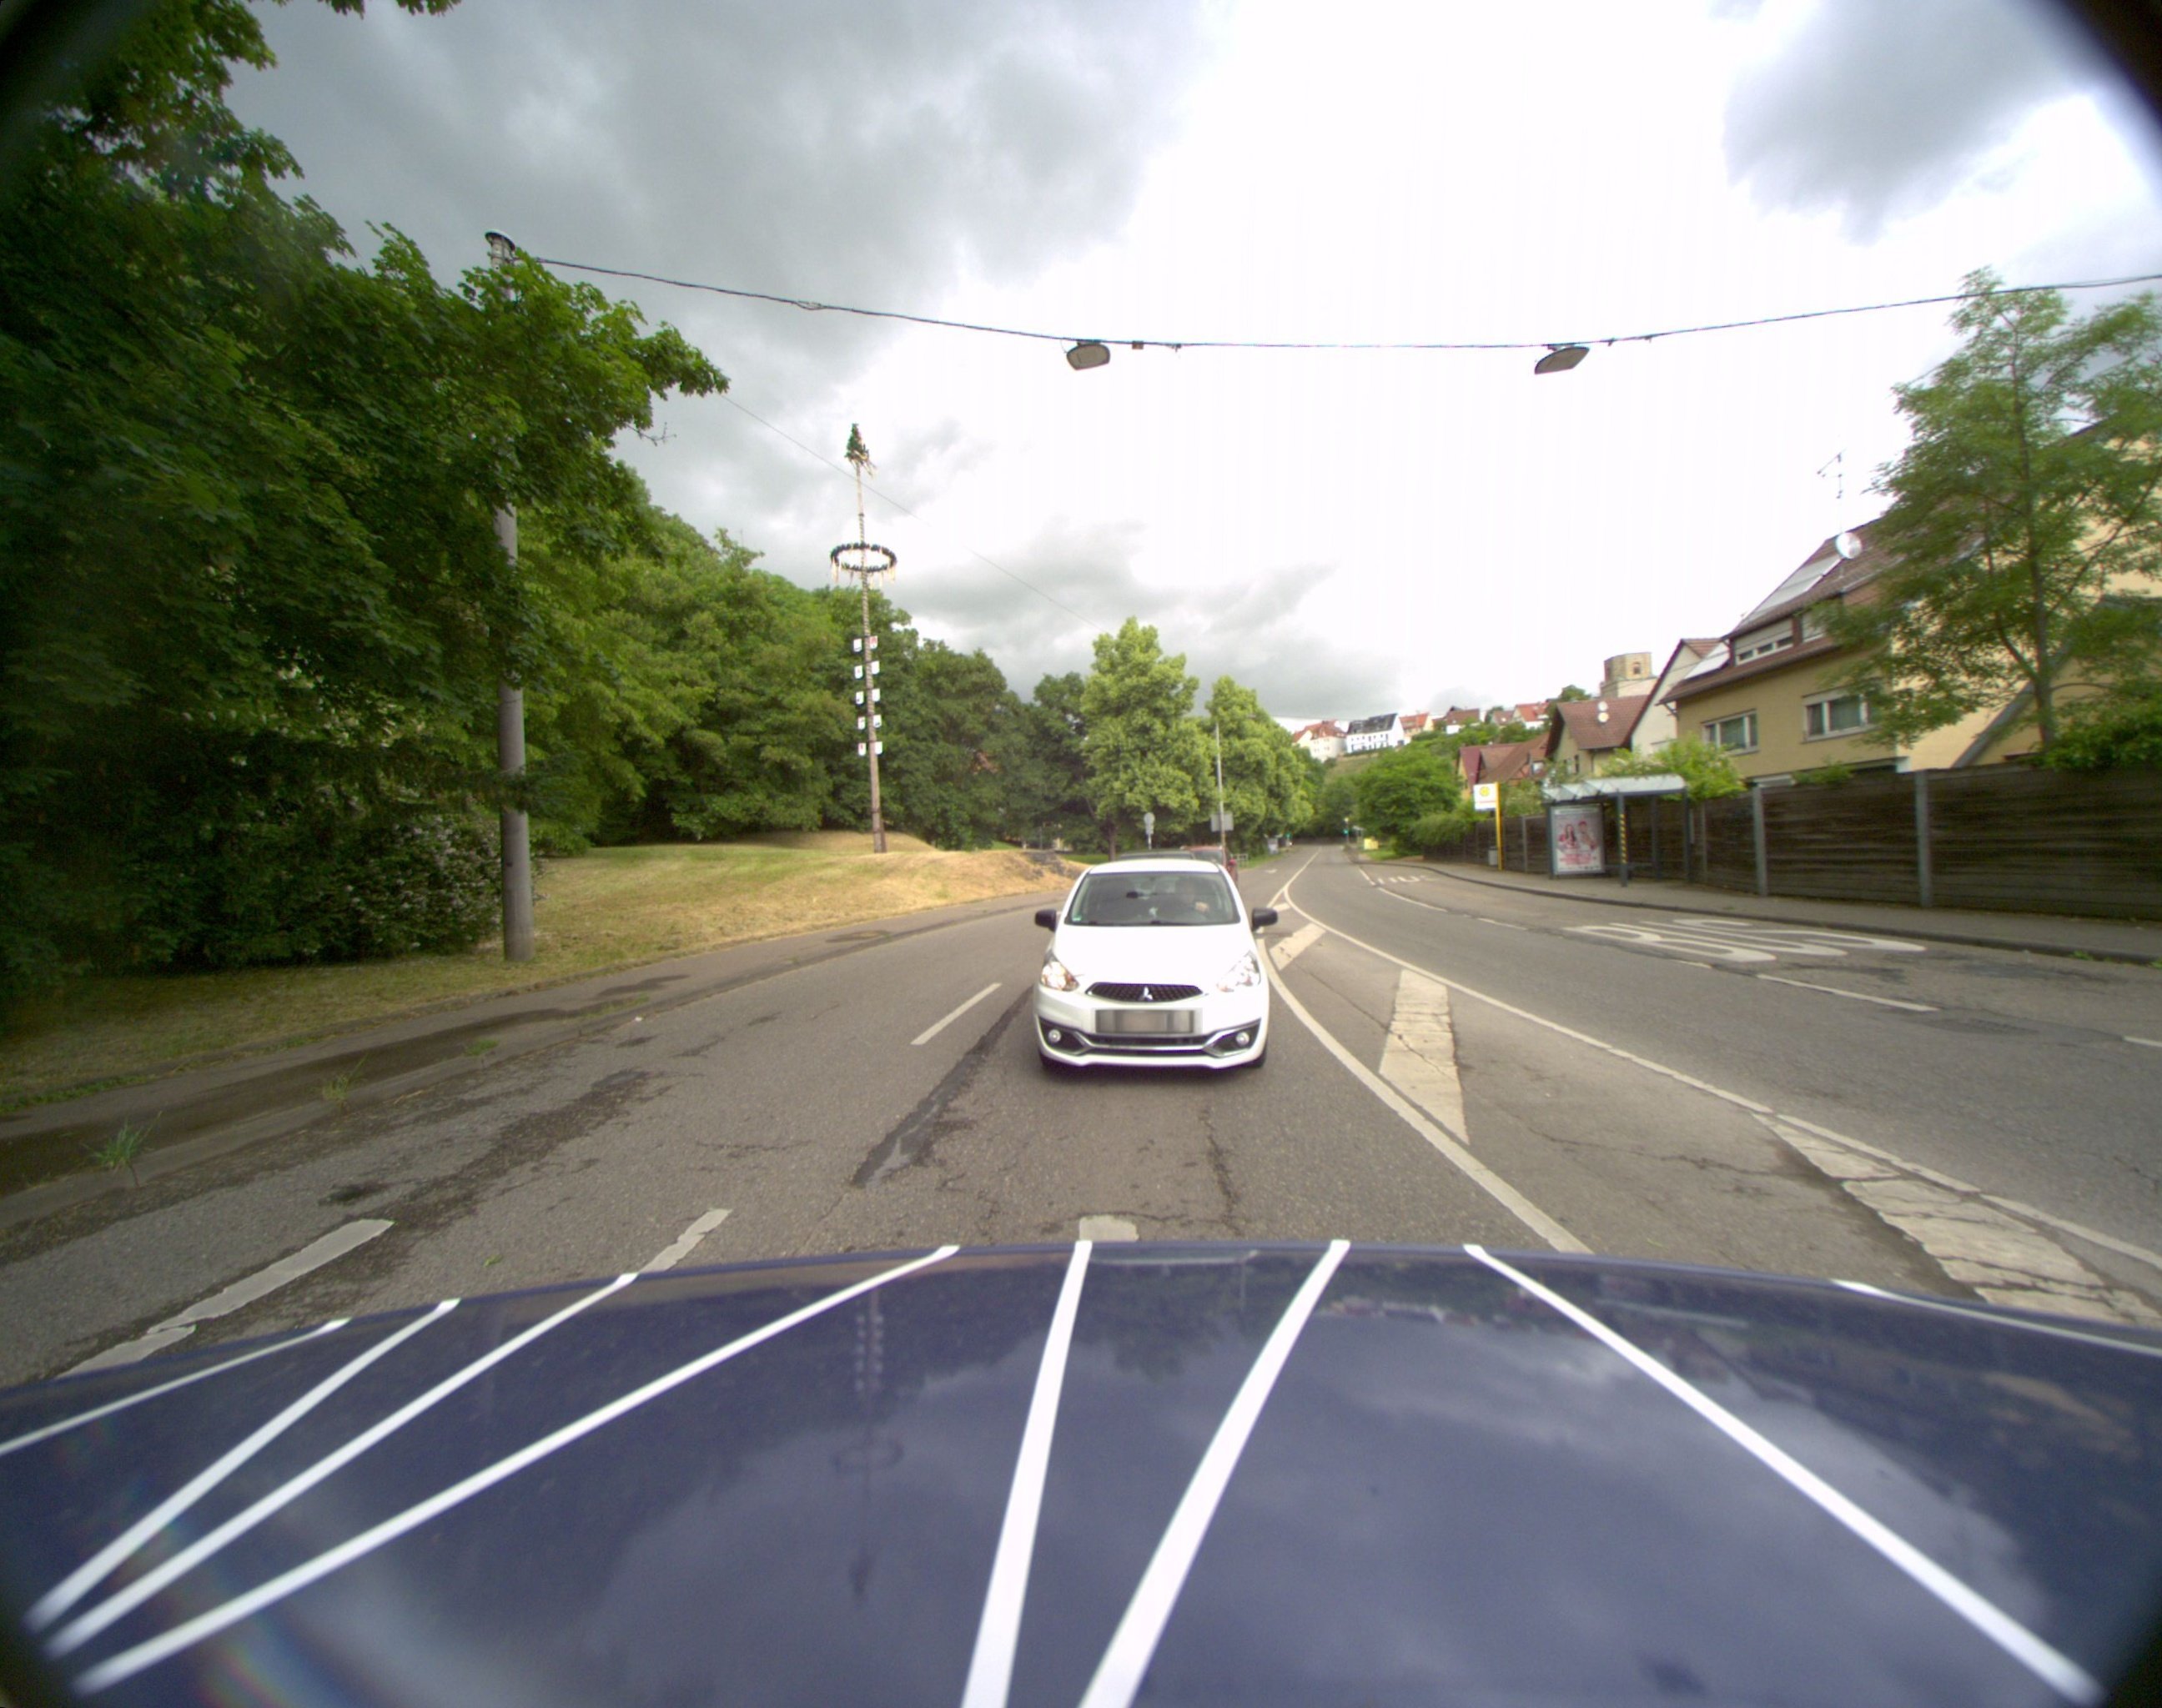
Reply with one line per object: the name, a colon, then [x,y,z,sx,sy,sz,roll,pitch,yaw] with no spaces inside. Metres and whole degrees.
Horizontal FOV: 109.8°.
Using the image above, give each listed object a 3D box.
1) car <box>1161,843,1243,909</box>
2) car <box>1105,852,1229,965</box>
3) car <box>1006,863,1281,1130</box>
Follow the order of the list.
car: [3.630,0.572,22.220,1.826,1.662,4.062,-2,1,16]
car: [1.485,0.785,12.860,1.723,1.539,3.783,-2,1,8]
car: [0.642,0.906,6.435,1.617,1.505,3.607,-2,1,9]
